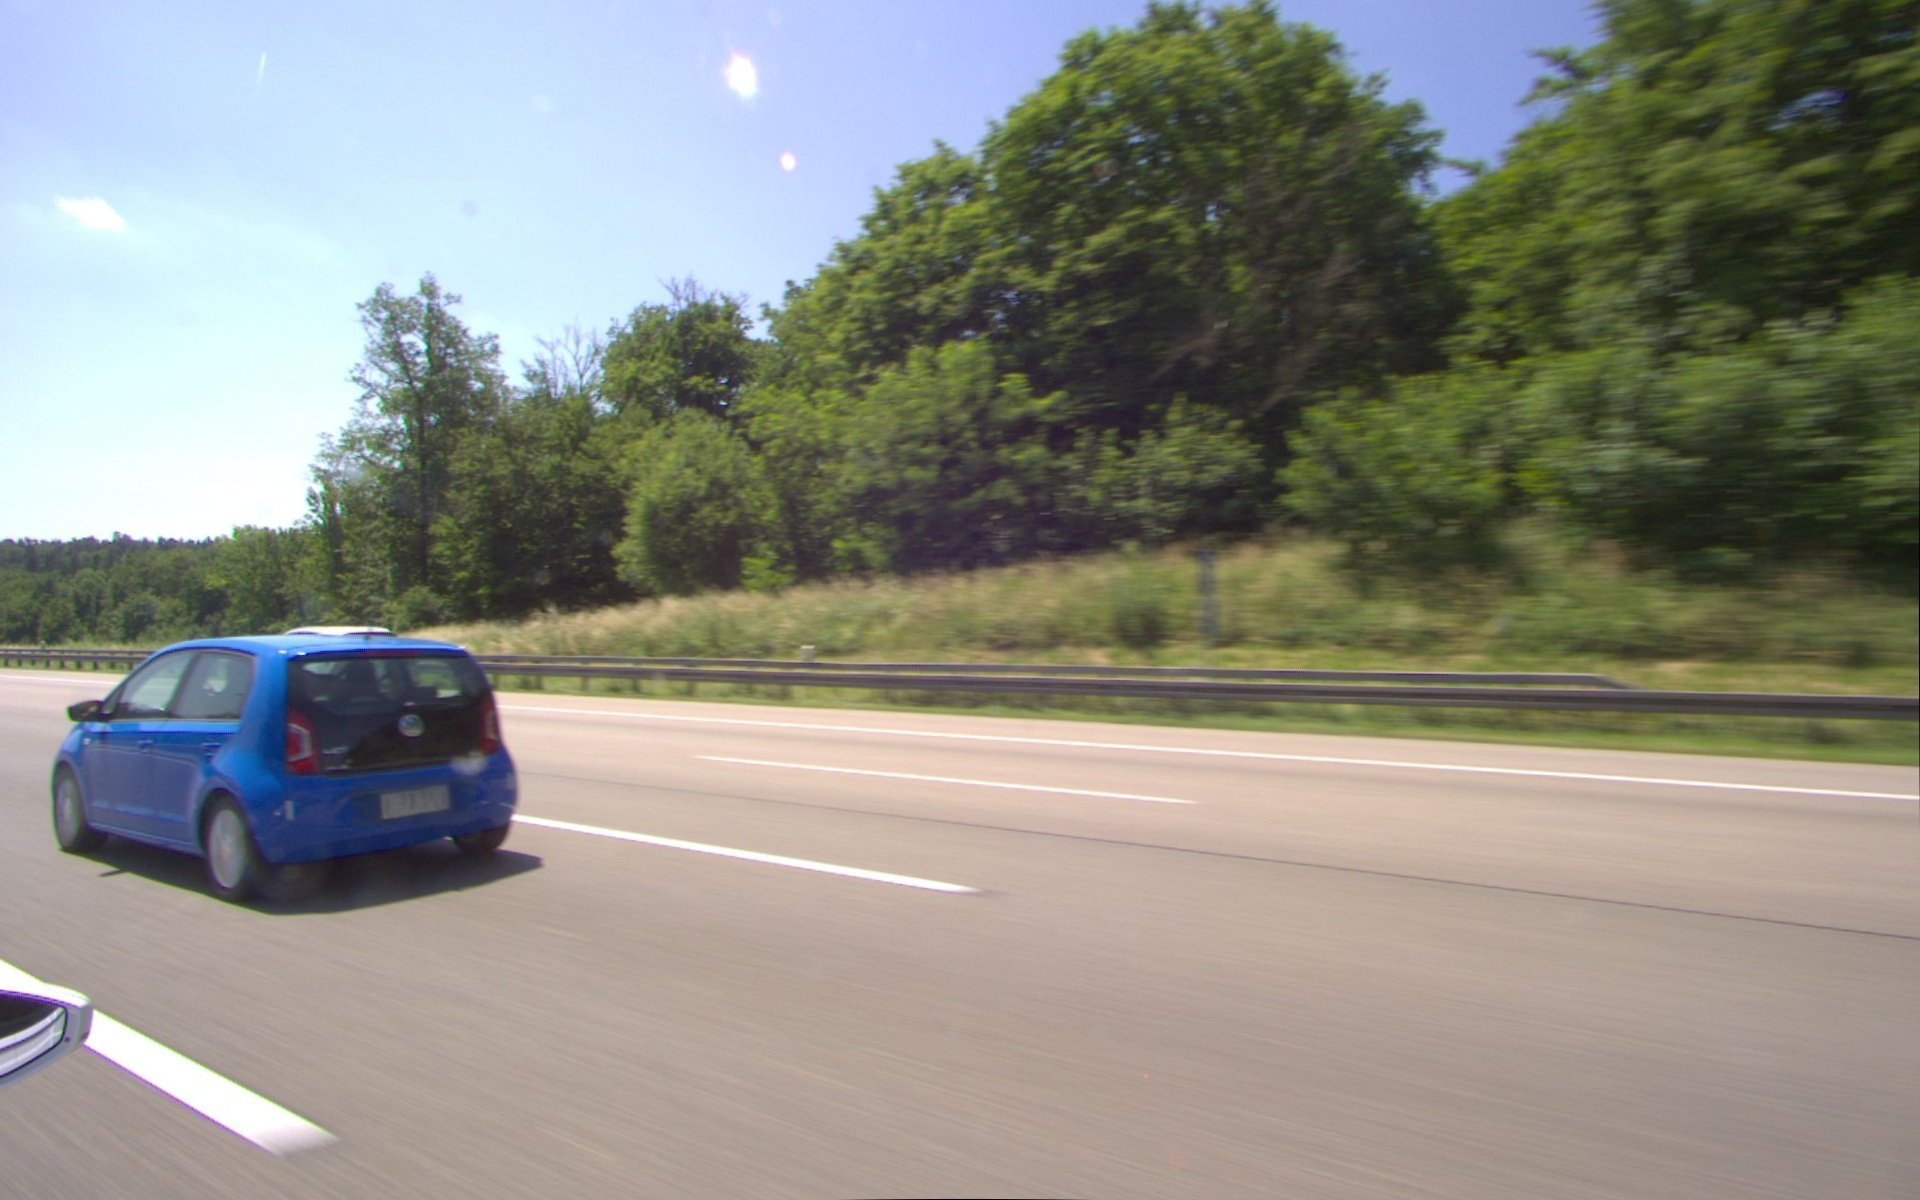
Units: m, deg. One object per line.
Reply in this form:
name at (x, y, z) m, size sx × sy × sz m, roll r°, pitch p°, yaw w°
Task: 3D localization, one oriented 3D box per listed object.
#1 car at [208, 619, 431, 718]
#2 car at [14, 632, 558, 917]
car at (-13.133, 1.312, 20.427) m, size 5.164 × 1.753 × 1.798 m, roll 0°, pitch -2°, yaw 32°
car at (-4.770, 0.952, 6.954) m, size 3.943 × 1.429 × 1.734 m, roll -1°, pitch -1°, yaw 33°
